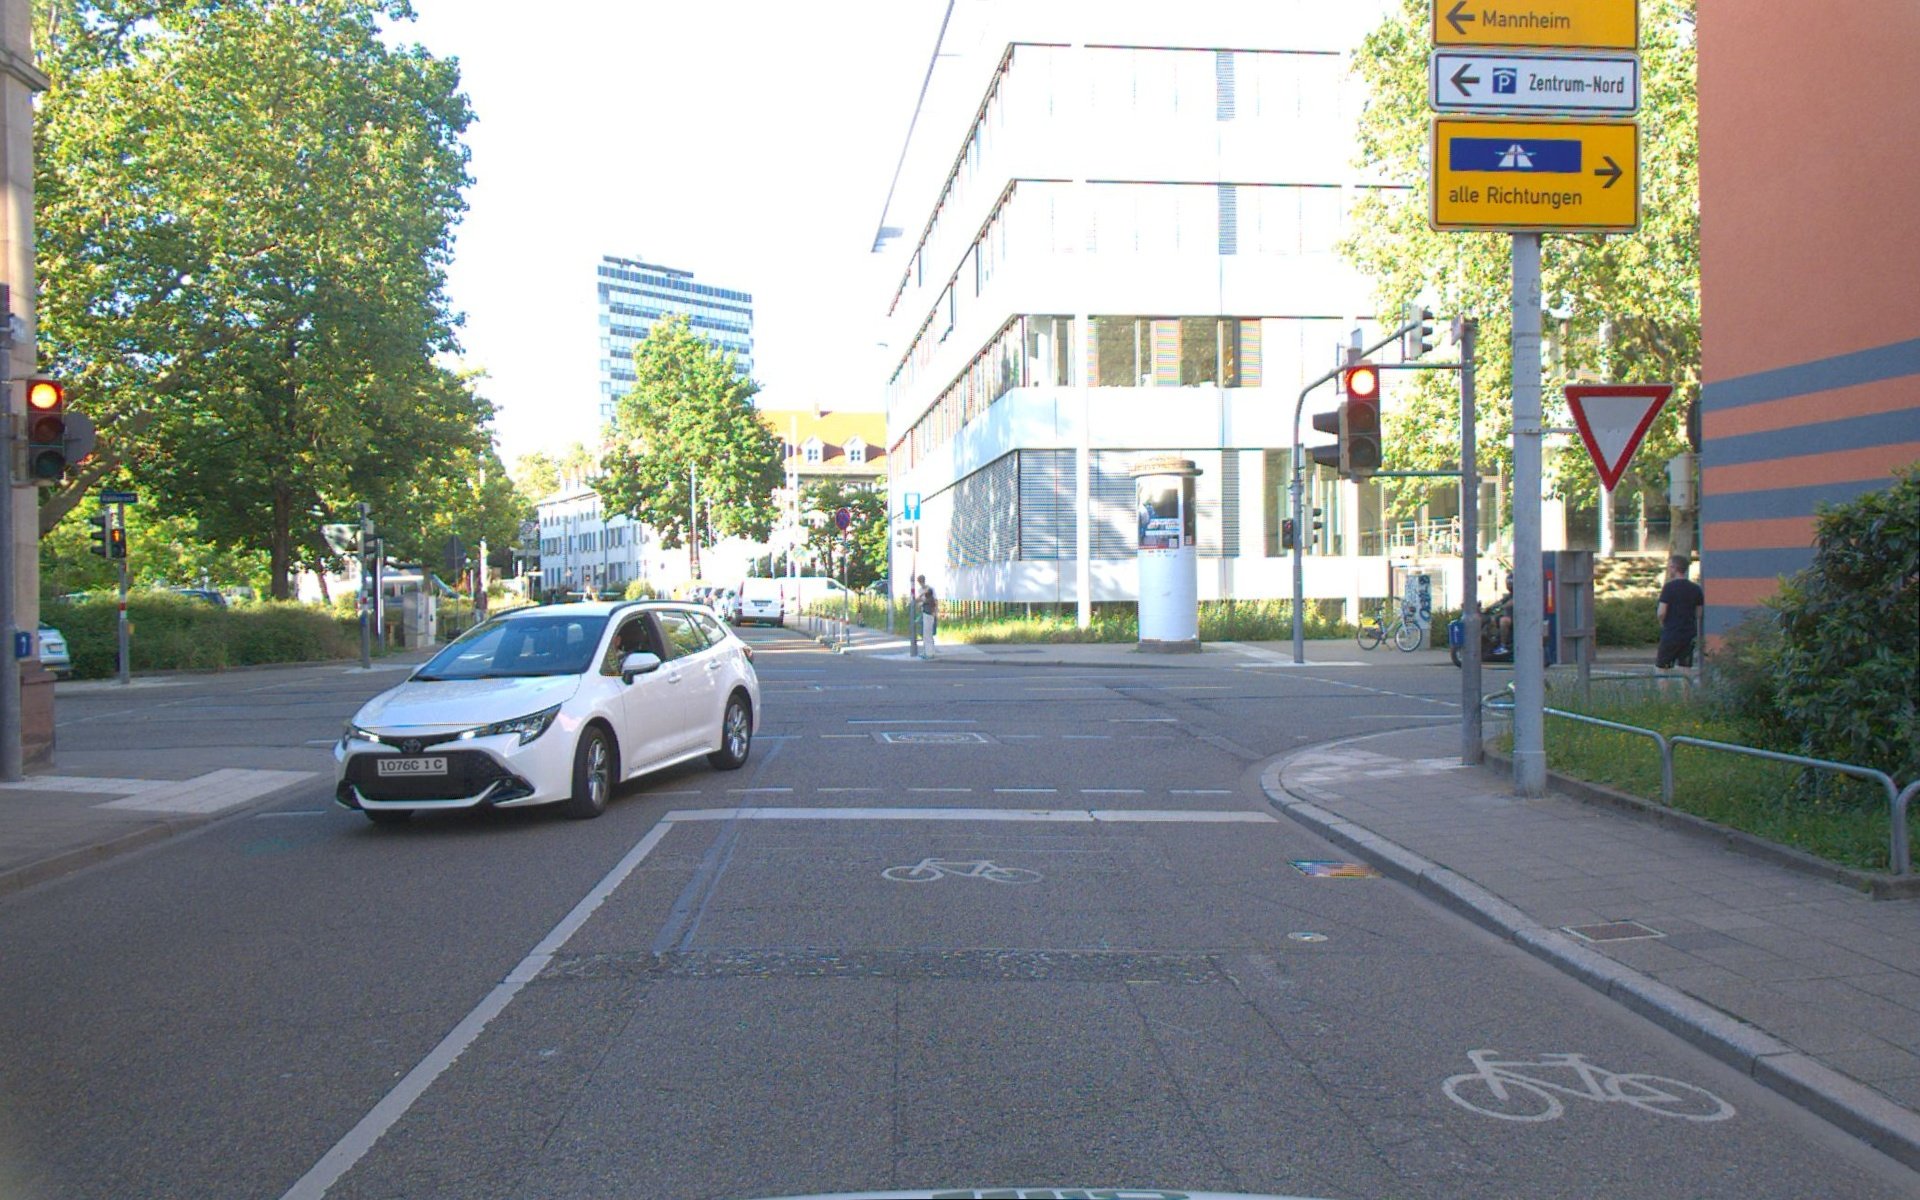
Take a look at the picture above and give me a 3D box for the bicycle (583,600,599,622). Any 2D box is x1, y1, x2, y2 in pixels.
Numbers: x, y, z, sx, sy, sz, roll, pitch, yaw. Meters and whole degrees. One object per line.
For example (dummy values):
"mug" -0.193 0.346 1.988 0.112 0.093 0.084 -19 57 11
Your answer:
"bicycle" -17.251 0.491 77.409 0.604 0.986 1.837 -1 1 -9

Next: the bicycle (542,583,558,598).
"bicycle" -28.609 -0.663 115.448 0.850 1.027 2.407 -3 0 -11

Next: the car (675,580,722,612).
"car" -14.344 -0.243 90.479 1.860 1.684 4.391 0 1 -19

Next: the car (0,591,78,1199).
"car" -3.352 0.840 2.604 1.651 1.610 4.273 -3 0 -2

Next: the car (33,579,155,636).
"car" -39.973 0.337 76.446 4.472 2.433 2.069 -2 0 -10

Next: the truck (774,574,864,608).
"truck" -8.773 -0.569 102.928 5.258 2.049 1.989 -1 0 -20

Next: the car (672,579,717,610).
"car" -15.343 -0.341 95.270 1.860 1.684 4.391 0 1 -19

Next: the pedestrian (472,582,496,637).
"pedestrian" -15.506 0.304 53.902 0.692 1.753 0.951 -2 0 -16

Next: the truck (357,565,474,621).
"truck" -24.562 -0.326 74.762 4.741 2.441 2.082 0 1 -11

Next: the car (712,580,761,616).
"car" -10.606 -0.106 78.156 1.856 1.582 4.400 0 1 -14

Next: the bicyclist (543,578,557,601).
"bicyclist" -28.605 -0.758 115.464 0.850 1.541 1.016 -3 0 -11

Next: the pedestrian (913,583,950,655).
"pedestrian" -0.644 0.427 37.189 0.551 1.567 0.673 -4 1 -19

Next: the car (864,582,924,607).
"car" -4.159 -0.356 104.183 3.502 1.573 1.549 -1 0 -20

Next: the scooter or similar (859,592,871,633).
"scooter or similar" -3.362 0.434 58.515 0.324 1.449 1.333 1 0 -6

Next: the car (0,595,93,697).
"car" -16.870 0.763 27.186 4.239 1.603 1.821 -1 0 -8

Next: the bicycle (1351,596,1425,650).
"bicycle" 9.350 0.490 36.174 0.503 1.067 1.667 -3 4 -35

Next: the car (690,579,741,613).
"car" -12.670 -0.229 85.374 1.860 1.684 4.391 0 1 -19

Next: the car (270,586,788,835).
"car" -3.038 0.708 12.832 1.846 1.501 4.549 -3 0 14

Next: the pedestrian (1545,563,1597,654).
"pedestrian" 12.752 0.172 34.525 0.817 1.872 0.709 1 0 1

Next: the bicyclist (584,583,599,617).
"bicyclist" -17.260 0.008 77.420 0.604 1.559 0.901 -1 0 -9

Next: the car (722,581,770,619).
"car" -9.439 -0.031 72.802 1.854 1.582 4.404 0 1 -10

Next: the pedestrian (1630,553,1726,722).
"pedestrian" 8.163 0.412 18.829 0.692 1.872 0.837 1 0 -1

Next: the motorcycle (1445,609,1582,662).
"motorcycle" 10.063 0.636 30.068 2.257 0.904 0.819 -1 0 -11

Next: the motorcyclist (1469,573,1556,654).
"motorcyclist" 10.038 0.239 30.070 1.271 1.444 0.819 -1 0 -11

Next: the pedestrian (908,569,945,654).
"pedestrian" -0.759 0.261 37.794 0.547 1.882 0.678 -3 1 15

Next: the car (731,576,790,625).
"car" -7.836 -0.014 64.568 2.047 1.827 4.404 0 1 -10
